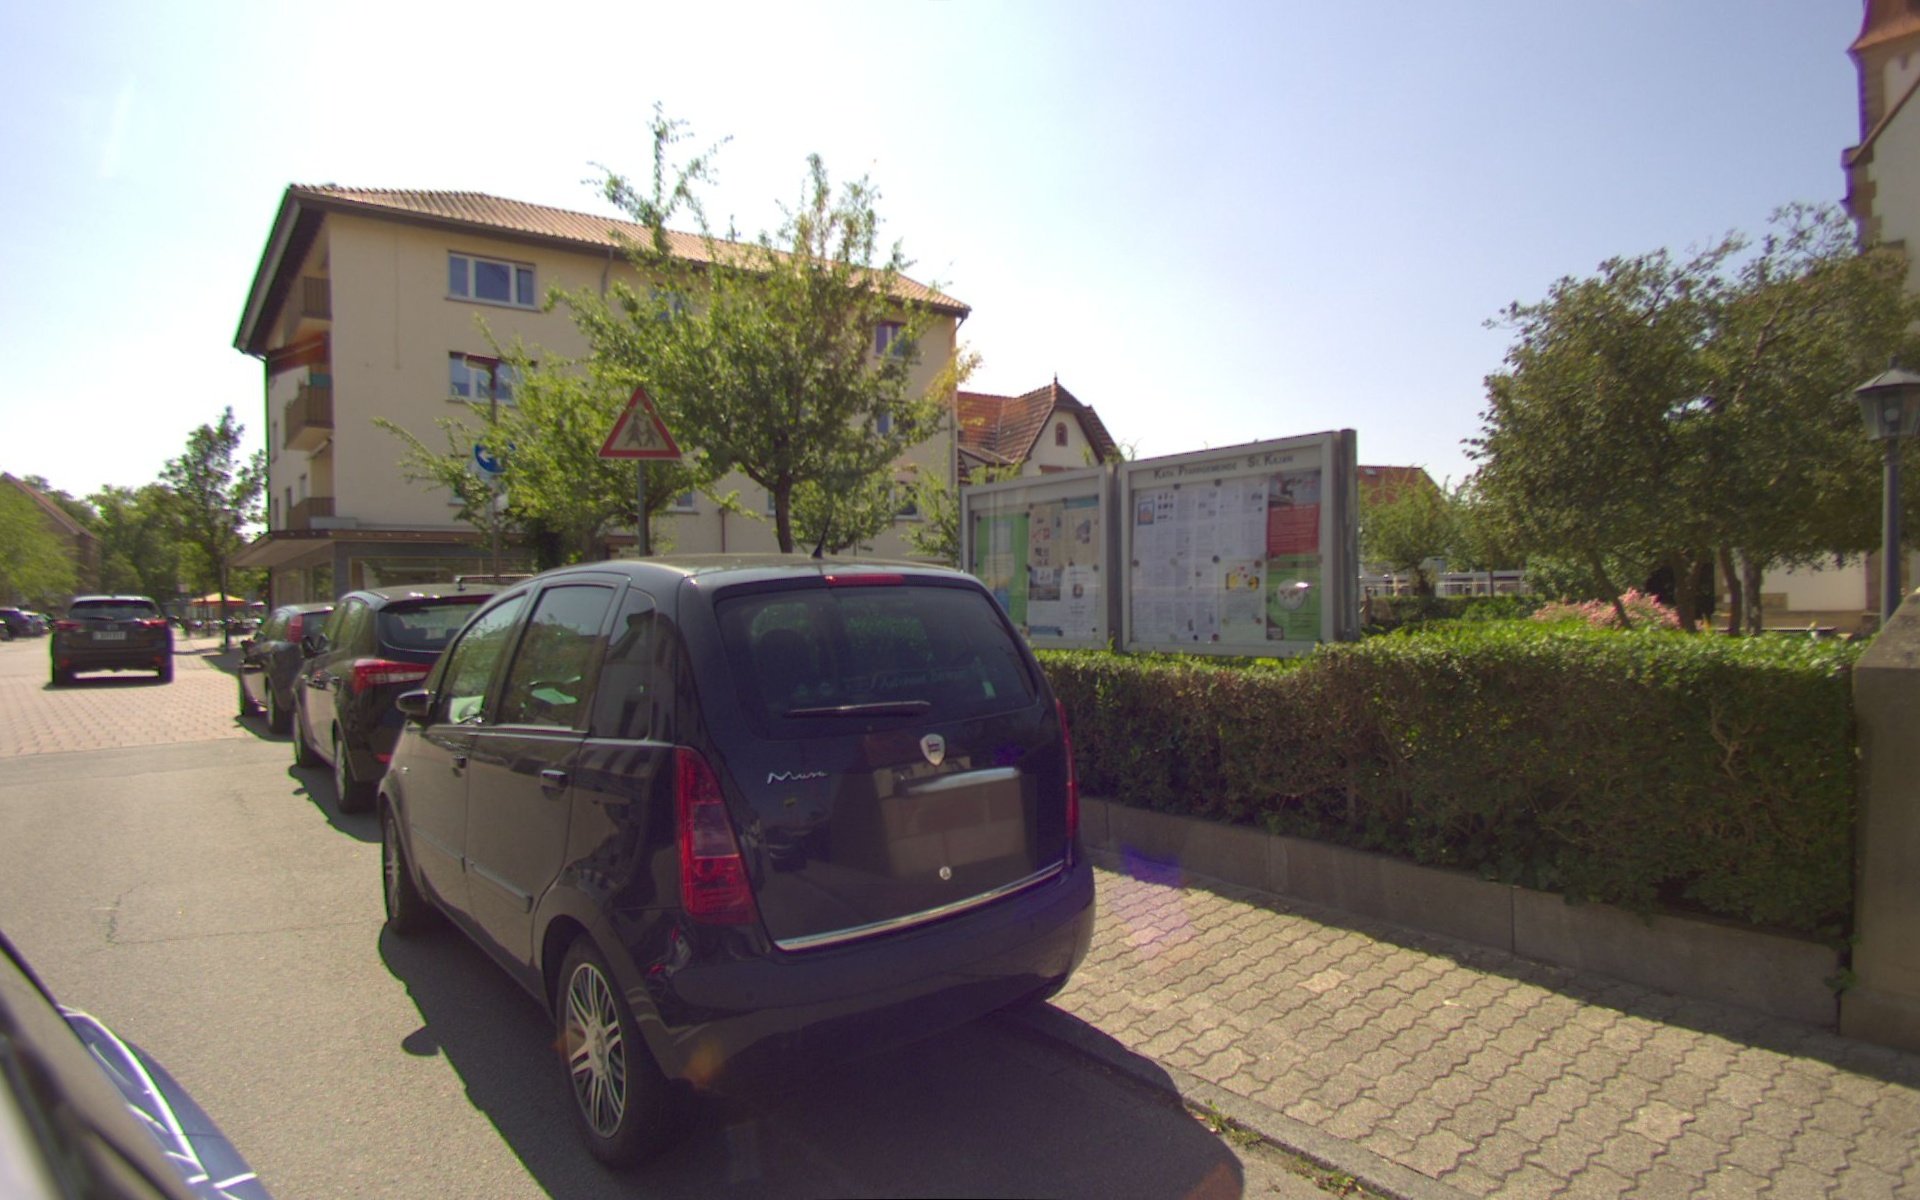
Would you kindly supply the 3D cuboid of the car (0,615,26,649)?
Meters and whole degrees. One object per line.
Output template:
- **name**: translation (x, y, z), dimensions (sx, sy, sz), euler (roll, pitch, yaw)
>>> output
- **car**: translation (-48.112, 1.545, 48.970), dimensions (4.190, 1.630, 1.760), euler (1, -1, -40)

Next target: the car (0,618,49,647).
- **car**: translation (-55.214, 1.895, 57.816), dimensions (4.516, 1.555, 1.810), euler (-2, 0, -38)

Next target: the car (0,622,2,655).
- **car**: translation (-44.643, 1.694, 43.784), dimensions (1.885, 1.474, 4.338), euler (-1, -1, 33)

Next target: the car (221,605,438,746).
- **car**: translation (-8.239, 0.860, 13.084), dimensions (1.682, 1.508, 3.861), euler (-1, 0, -43)

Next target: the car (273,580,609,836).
- **car**: translation (-4.589, 0.711, 8.608), dimensions (1.792, 1.617, 4.032), euler (-1, 0, -38)

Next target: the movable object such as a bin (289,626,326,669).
- **movable object such as a bin**: translation (-17.083, 1.233, 26.502), dimensions (0.664, 1.078, 0.647), euler (-1, 1, 45)

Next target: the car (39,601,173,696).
- **car**: translation (-16.958, 0.882, 20.047), dimensions (1.859, 1.681, 4.158), euler (0, -1, -42)

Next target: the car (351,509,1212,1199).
- **car**: translation (-1.098, 0.665, 3.885), dimensions (1.617, 1.641, 3.775), euler (-1, 0, -39)
